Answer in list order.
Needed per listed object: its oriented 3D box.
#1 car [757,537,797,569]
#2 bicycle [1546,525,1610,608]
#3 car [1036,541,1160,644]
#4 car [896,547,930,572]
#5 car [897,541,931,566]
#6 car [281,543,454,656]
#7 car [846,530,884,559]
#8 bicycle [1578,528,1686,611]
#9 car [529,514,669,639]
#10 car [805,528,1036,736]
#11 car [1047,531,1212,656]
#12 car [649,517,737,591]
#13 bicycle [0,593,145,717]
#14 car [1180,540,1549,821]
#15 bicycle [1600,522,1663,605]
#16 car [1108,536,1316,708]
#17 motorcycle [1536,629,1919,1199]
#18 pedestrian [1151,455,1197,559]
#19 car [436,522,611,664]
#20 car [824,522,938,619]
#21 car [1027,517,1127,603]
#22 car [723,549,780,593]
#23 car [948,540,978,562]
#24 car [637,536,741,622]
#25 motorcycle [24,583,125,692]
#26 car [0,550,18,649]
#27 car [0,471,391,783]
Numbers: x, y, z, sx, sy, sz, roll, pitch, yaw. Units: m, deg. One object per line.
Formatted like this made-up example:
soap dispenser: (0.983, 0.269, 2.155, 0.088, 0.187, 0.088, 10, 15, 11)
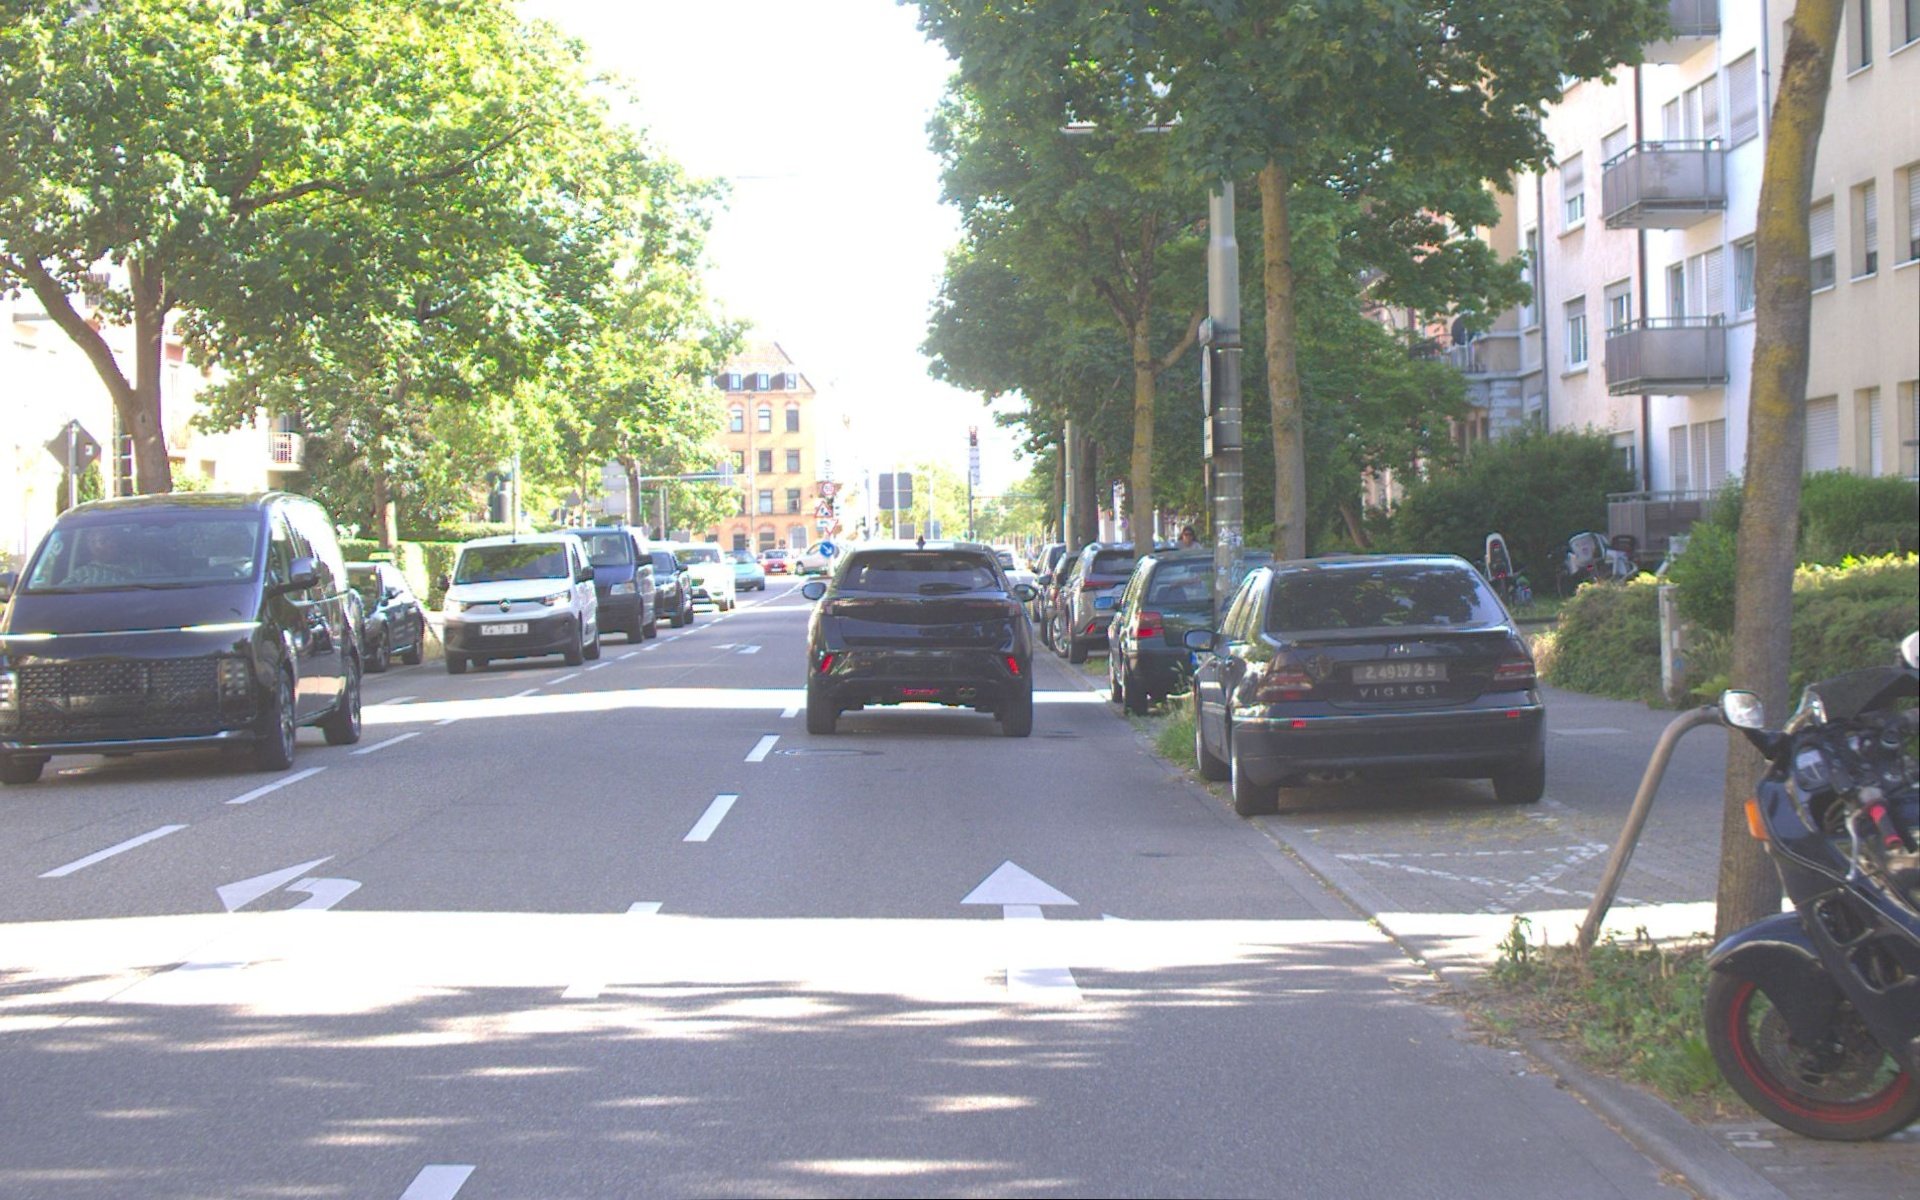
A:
car: (-9.442, -2.450, 177.677, 1.791, 1.611, 4.000, -1, 1, 0)
bicycle: (10.019, -0.556, 55.755, 0.623, 1.283, 1.842, -4, 1, 0)
car: (1.973, -0.137, 49.925, 1.612, 1.379, 3.976, -1, 1, 0)
car: (-2.813, -2.439, 205.913, 1.810, 1.402, 4.000, -1, 1, 2)
car: (-2.931, -2.973, 219.959, 1.993, 1.514, 4.000, 2, 1, 1)
car: (-8.398, -0.044, 49.089, 1.722, 1.530, 4.680, 0, 1, -1)
car: (-4.817, -2.817, 174.232, 1.771, 1.447, 3.885, -1, 1, 0)
bicycle: (10.580, -0.472, 54.114, 1.537, 1.218, 0.463, -3, 1, 30)
car: (-5.999, -0.426, 57.613, 1.803, 1.904, 4.712, -3, 1, -1)
car: (-0.325, 0.215, 27.956, 1.745, 1.568, 3.558, 0, 1, -1)
car: (2.118, -0.115, 44.048, 1.714, 1.484, 4.235, -1, 1, -2)
car: (-6.442, -1.139, 83.280, 1.806, 1.642, 4.673, -3, 1, -1)
bicycle: (-8.720, 0.518, 32.941, 1.933, 1.131, 0.461, 1, 2, 27)
car: (2.254, 0.381, 20.168, 1.586, 1.391, 4.454, -2, 1, 0)
bicycle: (10.827, -0.599, 55.477, 0.591, 1.283, 1.689, -4, 1, 0)
car: (2.230, 0.150, 31.281, 1.692, 1.423, 4.147, -1, 1, 2)
motorcycle: (2.340, 0.724, 7.670, 0.697, 1.267, 2.432, -3, 1, -28)
pedestrian: (3.524, -1.531, 56.642, 0.669, 1.676, 0.776, -1, 1, -1)
car: (-5.863, -0.133, 46.633, 1.815, 1.737, 4.493, -3, 1, -1)
car: (-1.321, -0.531, 58.756, 1.830, 1.573, 3.839, -1, 1, 0)
car: (2.195, -0.765, 65.238, 1.559, 1.510, 3.655, -3, 1, -2)
car: (-7.122, -1.017, 117.696, 1.737, 1.377, 3.937, -2, 2, -1)
car: (0.211, -3.501, 244.841, 1.993, 1.514, 4.000, 2, 1, 1)
car: (-5.360, -0.441, 68.408, 1.719, 1.560, 4.343, -4, 1, -1)
motorcycle: (-9.646, 0.393, 37.481, 0.461, 1.122, 1.717, 0, 2, 7)
car: (-16.524, -0.003, 52.132, 3.987, 1.481, 1.881, 0, 1, -1)
car: (-5.546, 0.130, 24.949, 2.016, 1.945, 5.179, -3, 1, -2)
